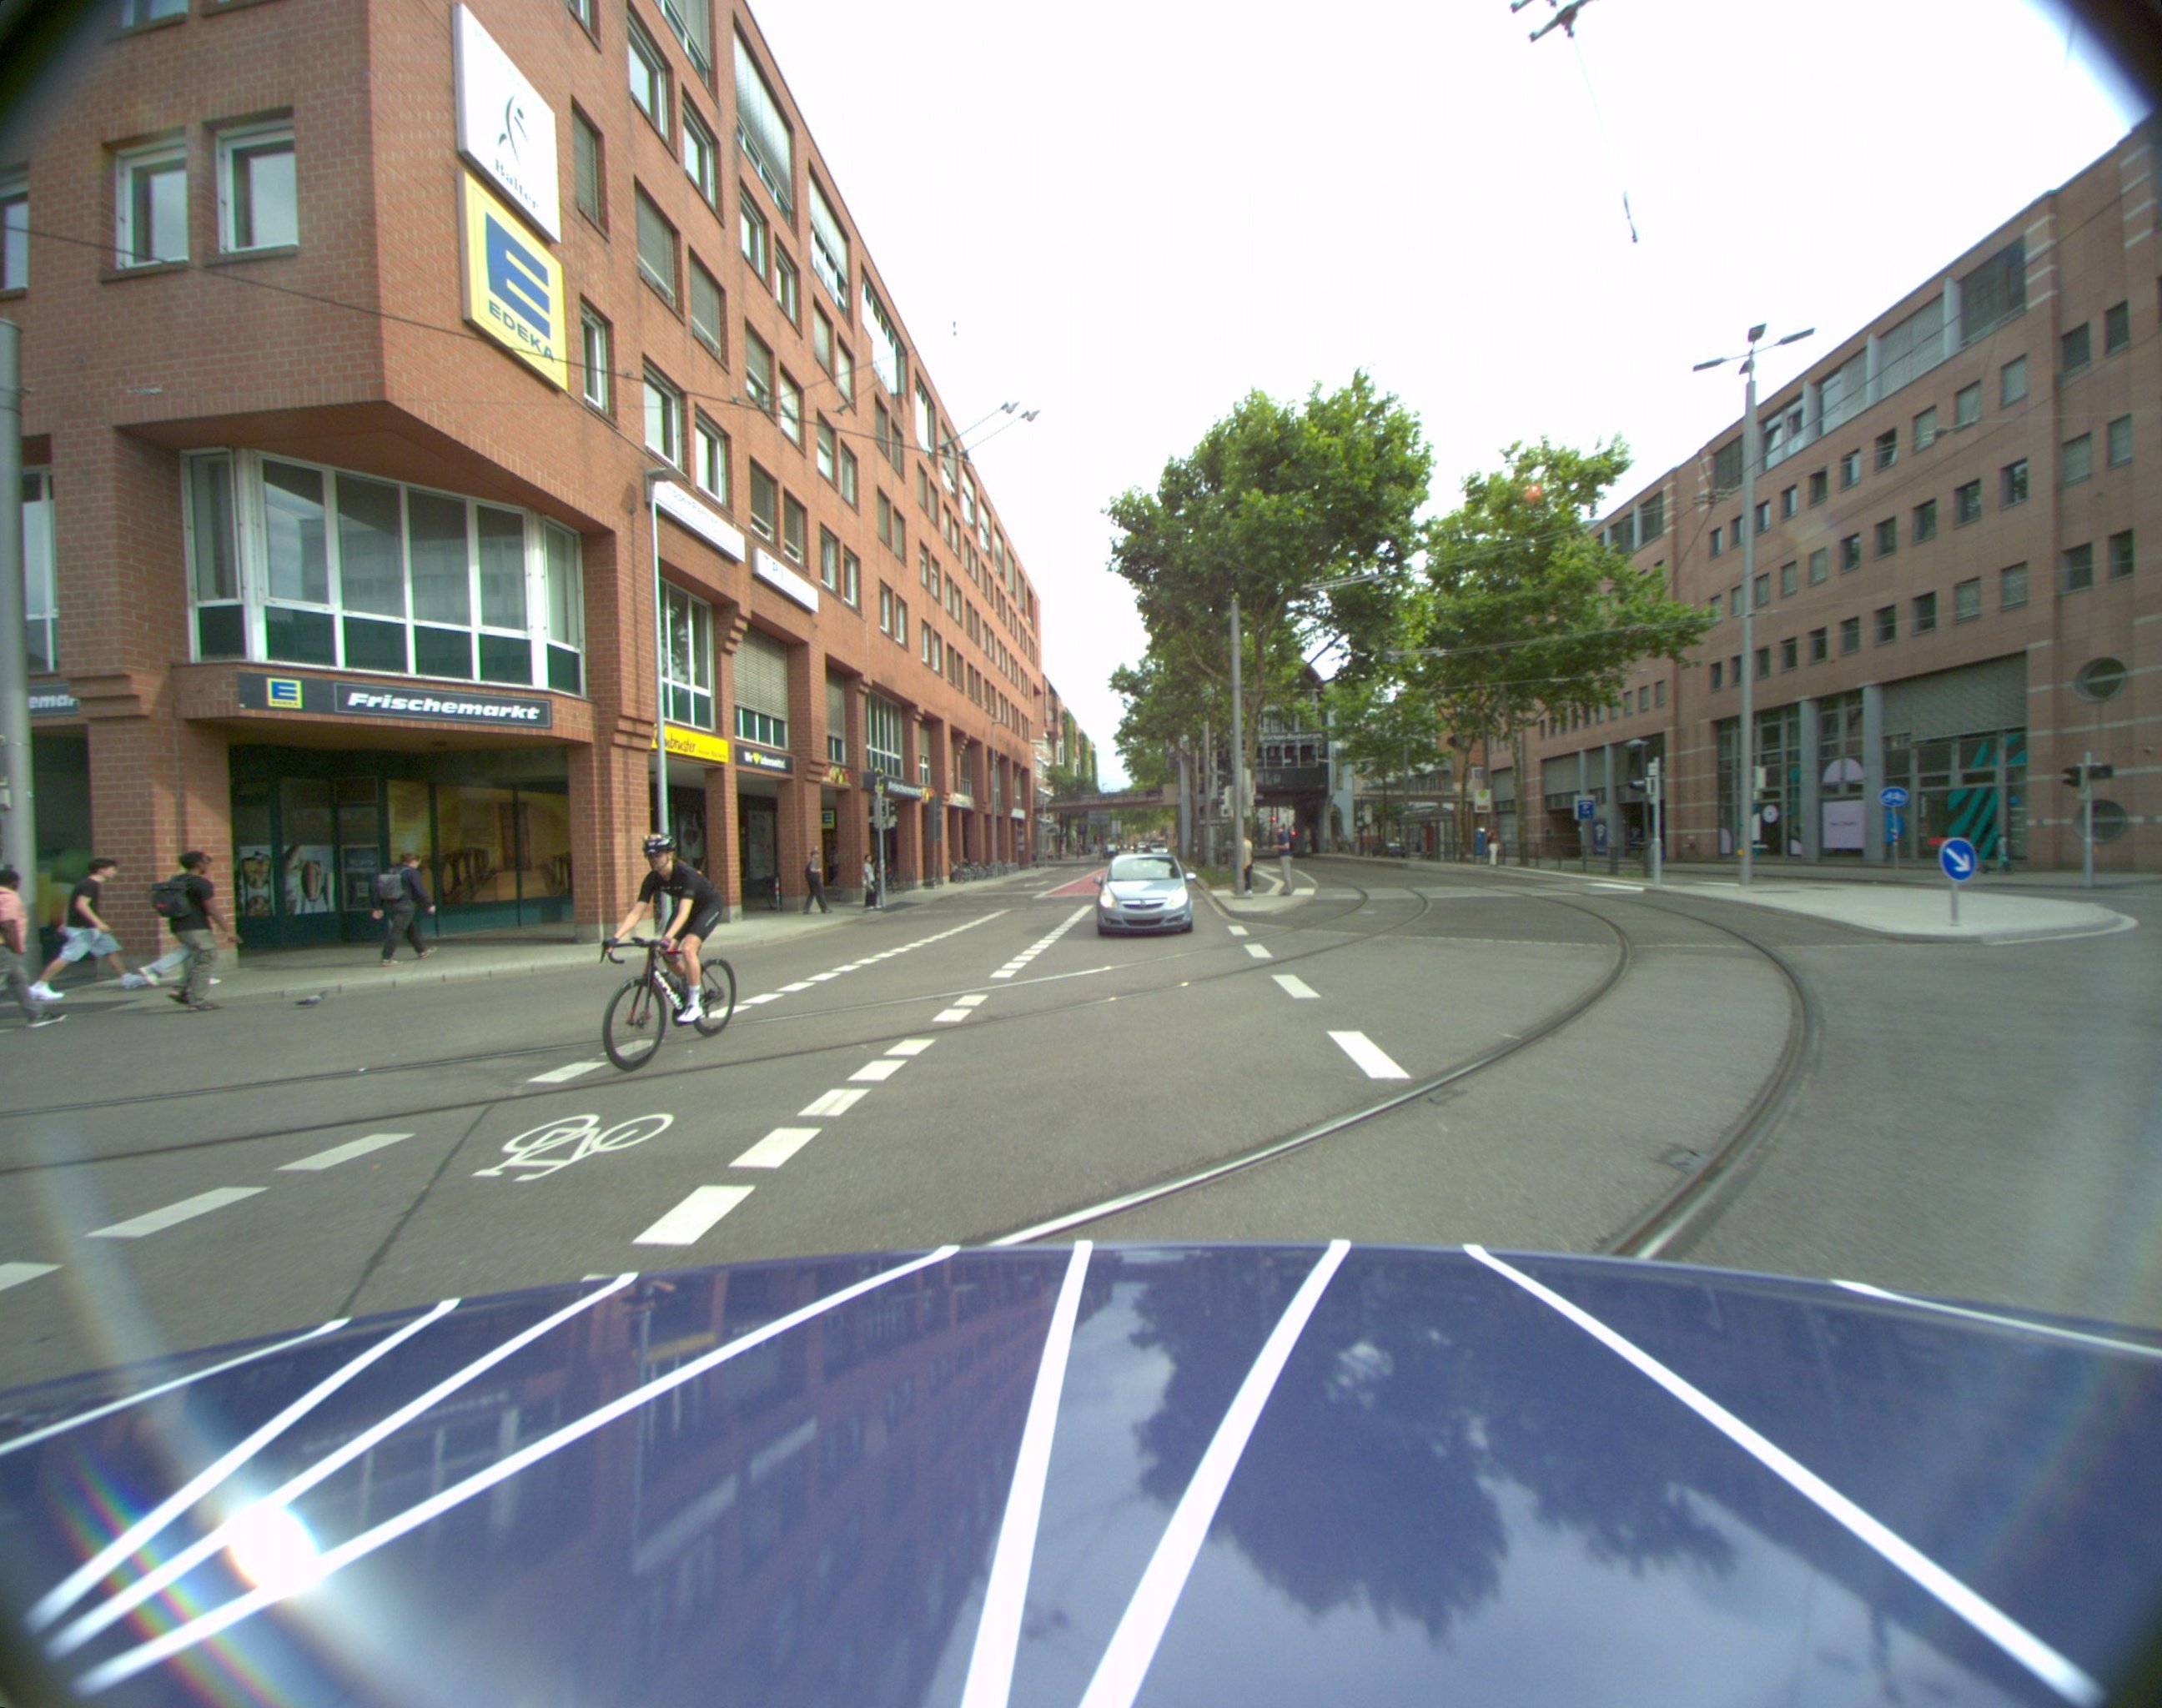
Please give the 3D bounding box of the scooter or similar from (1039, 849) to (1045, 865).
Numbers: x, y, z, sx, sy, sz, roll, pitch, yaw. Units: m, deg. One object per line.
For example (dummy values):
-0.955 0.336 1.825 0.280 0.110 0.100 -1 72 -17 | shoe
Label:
-2.996 0.246 58.876 0.272 1.250 0.921 -2 1 7 | scooter or similar

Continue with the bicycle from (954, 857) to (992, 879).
-5.657 0.733 39.745 1.858 1.105 0.534 -1 1 7 | bicycle

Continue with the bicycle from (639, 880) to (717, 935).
-8.747 1.138 16.556 0.566 1.085 1.700 1 -1 10 | bicycle

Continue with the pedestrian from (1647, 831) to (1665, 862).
29.414 -0.404 38.872 0.528 1.565 0.601 -1 1 6 | pedestrian

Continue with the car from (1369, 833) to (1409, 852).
25.326 -0.918 62.556 1.867 1.464 4.297 -1 1 5 | car

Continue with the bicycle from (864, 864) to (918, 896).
-6.990 0.952 27.990 1.868 1.078 0.628 -2 2 -44 | bicycle

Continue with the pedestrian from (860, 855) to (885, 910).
-6.315 0.853 23.035 0.407 1.622 0.732 0 2 14 | pedestrian

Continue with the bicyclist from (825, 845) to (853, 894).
-8.833 0.556 27.732 0.767 1.769 0.619 -1 3 -44 | bicyclist

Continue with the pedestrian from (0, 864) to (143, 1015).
-12.545 1.001 9.308 0.648 1.704 1.056 -2 2 6 | pedestrian

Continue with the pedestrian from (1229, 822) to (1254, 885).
4.666 -0.023 22.029 0.534 1.781 0.578 -1 1 26 | pedestrian

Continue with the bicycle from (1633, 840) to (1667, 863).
27.729 -0.137 37.070 0.547 1.111 1.590 -2 1 4 | bicycle

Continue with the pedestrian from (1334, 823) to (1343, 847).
19.333 -1.402 57.103 0.482 1.761 0.481 -2 2 -1 | pedestrian

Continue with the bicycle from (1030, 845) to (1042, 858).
-4.676 -0.266 79.301 0.746 1.382 2.981 -2 1 6 | bicycle

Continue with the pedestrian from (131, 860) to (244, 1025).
-10.054 0.976 8.566 0.542 1.787 0.561 -2 1 6 | pedestrian

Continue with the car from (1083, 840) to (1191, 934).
1.089 0.517 14.624 1.723 1.395 4.000 -4 2 5 | car

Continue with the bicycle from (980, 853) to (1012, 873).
-5.086 0.545 45.493 1.858 1.134 0.534 -1 1 7 | bicycle

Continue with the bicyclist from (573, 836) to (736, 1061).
-3.255 0.678 5.875 0.613 1.594 0.847 -4 1 6 | bicyclist

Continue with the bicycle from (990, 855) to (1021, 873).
-4.781 0.620 48.404 1.858 1.134 0.534 -1 1 7 | bicycle

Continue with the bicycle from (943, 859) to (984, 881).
-5.713 0.777 36.950 1.858 1.034 0.534 -1 1 7 | bicycle

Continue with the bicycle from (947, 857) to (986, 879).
-5.852 0.716 38.811 1.858 1.105 0.534 -1 1 7 | bicycle

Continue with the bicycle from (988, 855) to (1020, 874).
-4.734 0.634 46.678 1.858 1.134 0.534 -1 1 7 | bicycle

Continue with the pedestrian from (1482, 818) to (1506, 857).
16.726 -0.667 30.776 0.658 1.529 0.558 -2 3 2 | pedestrian

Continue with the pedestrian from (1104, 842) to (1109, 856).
3.031 -0.618 91.521 0.515 1.645 0.612 -2 1 7 | pedestrian

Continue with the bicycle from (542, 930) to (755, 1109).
-3.258 1.192 5.940 0.488 0.995 1.748 -1 1 6 | bicycle

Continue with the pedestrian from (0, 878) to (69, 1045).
-11.014 1.082 7.586 0.542 1.642 0.893 -2 1 6 | pedestrian

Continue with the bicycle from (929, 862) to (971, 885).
-6.145 0.917 35.662 1.858 1.034 0.508 -2 1 7 | bicycle

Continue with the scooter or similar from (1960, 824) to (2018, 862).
27.909 -0.338 23.364 0.520 1.126 1.112 -2 1 7 | scooter or similar

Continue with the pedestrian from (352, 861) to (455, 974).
-10.163 0.924 11.435 0.619 1.592 0.922 -2 1 6 | pedestrian

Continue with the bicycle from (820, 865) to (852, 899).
-8.811 0.992 27.417 0.629 1.078 1.749 2 2 -2 | bicycle

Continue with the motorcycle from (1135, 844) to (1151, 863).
3.236 -0.034 39.816 0.570 0.962 2.013 -2 1 -3 | motorcycle

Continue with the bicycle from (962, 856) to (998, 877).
-5.472 0.658 41.251 1.858 1.105 0.534 -1 1 7 | bicycle

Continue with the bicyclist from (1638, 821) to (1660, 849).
27.708 -0.918 37.087 0.551 1.373 0.738 -2 1 3 | bicyclist

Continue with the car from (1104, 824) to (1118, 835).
4.945 -4.039 125.422 1.956 1.592 4.001 -2 1 7 | car

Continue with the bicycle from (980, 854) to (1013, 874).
-4.976 0.595 44.806 1.858 1.134 0.534 -1 1 7 | bicycle

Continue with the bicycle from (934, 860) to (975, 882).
-6.038 0.818 36.327 1.858 1.034 0.534 -1 1 7 | bicycle

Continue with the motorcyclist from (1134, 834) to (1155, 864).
3.322 -0.268 39.758 0.872 1.508 1.043 -2 1 -4 | motorcyclist

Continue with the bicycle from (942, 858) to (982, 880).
-5.897 0.758 37.658 1.858 1.034 0.534 -1 1 7 | bicycle

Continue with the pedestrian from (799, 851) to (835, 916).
-7.042 0.785 20.291 0.647 1.686 0.698 0 2 4 | pedestrian

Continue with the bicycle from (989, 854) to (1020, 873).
-4.777 0.578 47.436 1.858 1.134 0.534 -1 1 7 | bicycle

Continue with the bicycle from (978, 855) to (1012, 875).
-4.970 0.652 44.118 1.858 1.134 0.534 -1 1 7 | bicycle

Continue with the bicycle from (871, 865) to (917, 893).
-7.784 1.013 31.666 1.868 1.078 0.483 -2 2 -44 | bicycle

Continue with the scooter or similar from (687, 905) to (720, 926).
-8.930 1.459 17.975 0.263 0.416 0.892 -2 0 4 | scooter or similar

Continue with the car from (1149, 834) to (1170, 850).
8.098 -1.236 78.059 1.956 1.592 4.001 -2 1 7 | car

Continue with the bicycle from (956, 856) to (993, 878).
-5.662 0.696 40.430 1.858 1.105 0.534 -1 1 7 | bicycle

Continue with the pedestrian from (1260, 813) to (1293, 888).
5.067 -0.092 19.725 0.693 1.864 0.807 -2 1 7 | pedestrian

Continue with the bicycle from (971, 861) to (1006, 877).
-5.246 0.838 43.123 1.858 0.888 0.535 -1 1 7 | bicycle

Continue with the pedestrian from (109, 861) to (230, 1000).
-11.640 0.957 9.726 0.648 1.679 0.651 -2 2 6 | pedestrian

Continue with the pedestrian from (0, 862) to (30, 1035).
-11.650 0.997 7.841 0.568 1.813 0.696 -2 1 6 | pedestrian
